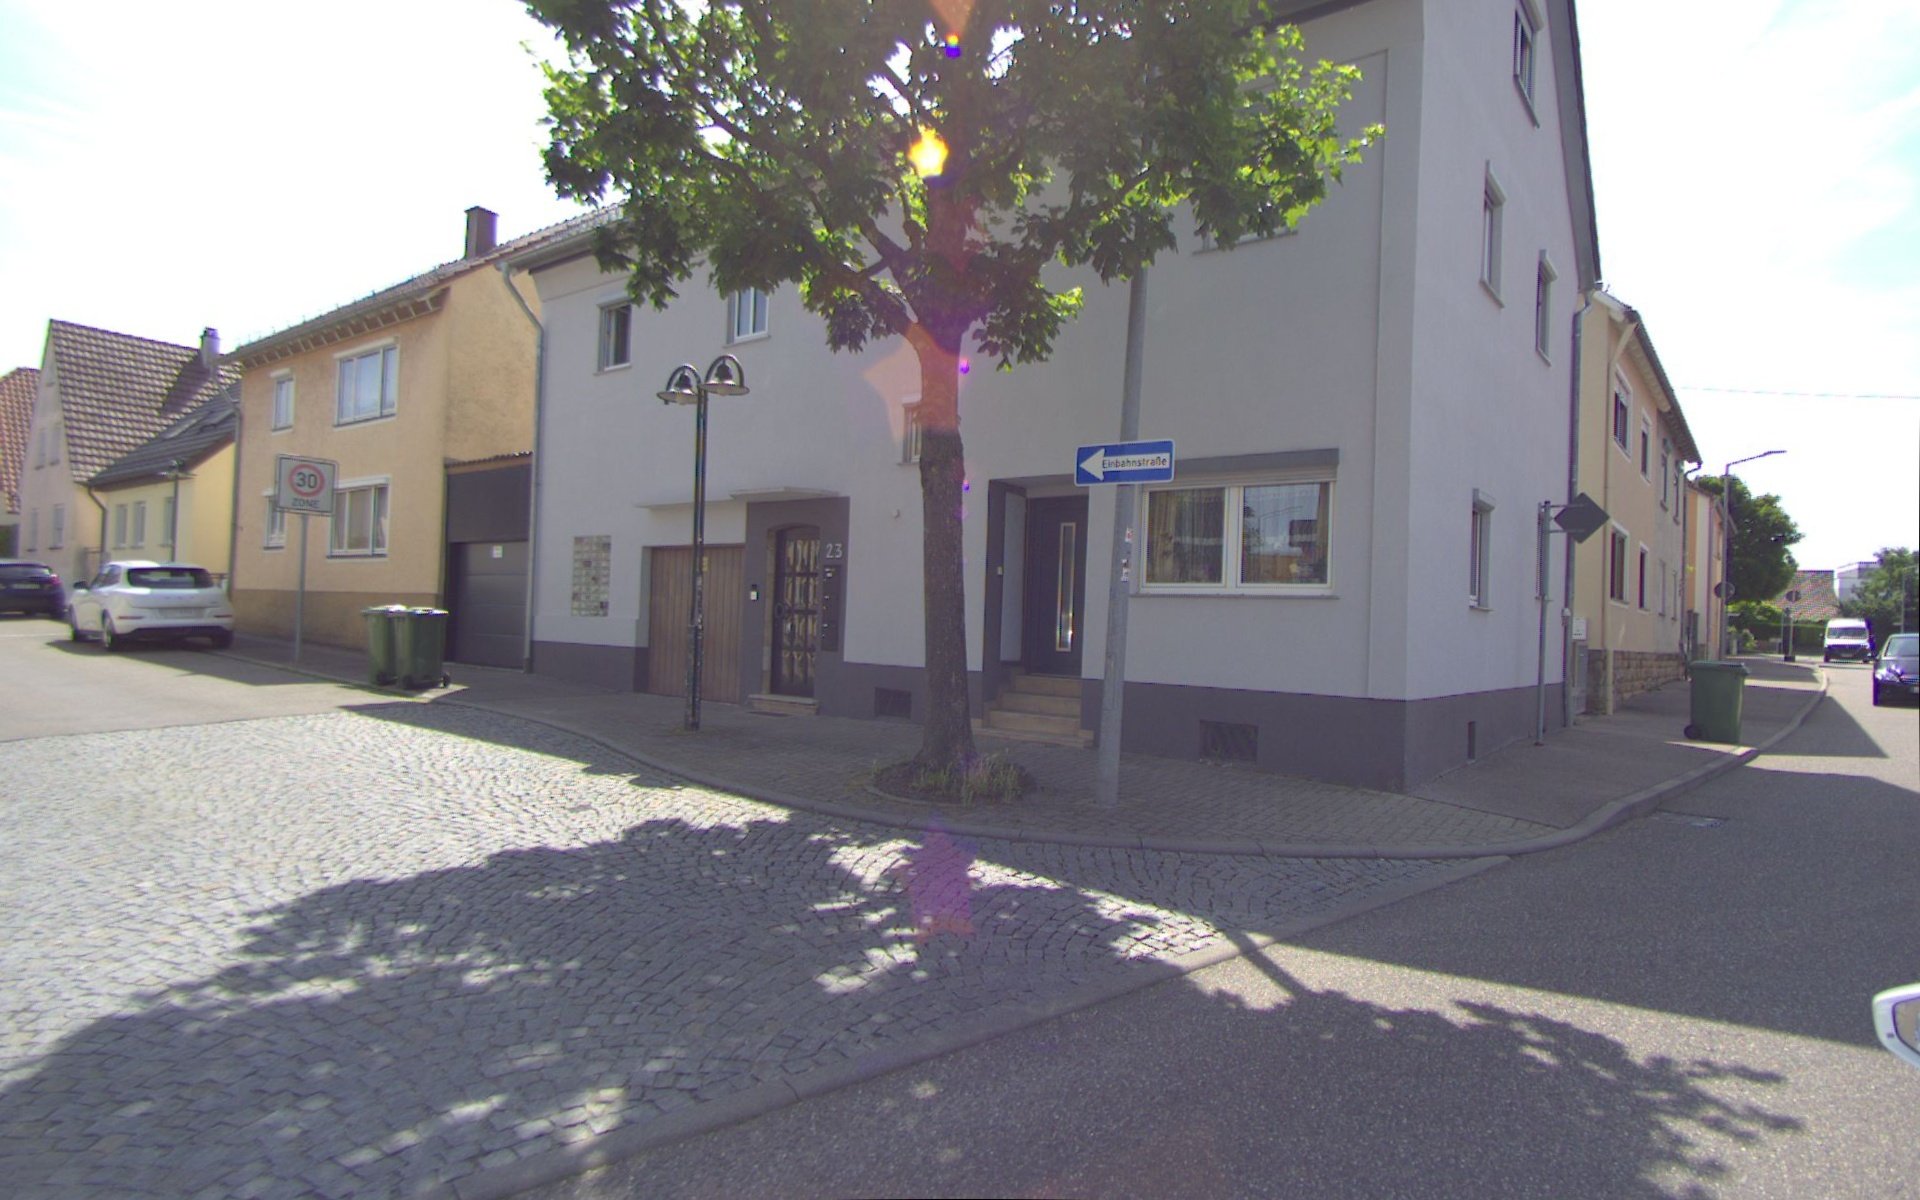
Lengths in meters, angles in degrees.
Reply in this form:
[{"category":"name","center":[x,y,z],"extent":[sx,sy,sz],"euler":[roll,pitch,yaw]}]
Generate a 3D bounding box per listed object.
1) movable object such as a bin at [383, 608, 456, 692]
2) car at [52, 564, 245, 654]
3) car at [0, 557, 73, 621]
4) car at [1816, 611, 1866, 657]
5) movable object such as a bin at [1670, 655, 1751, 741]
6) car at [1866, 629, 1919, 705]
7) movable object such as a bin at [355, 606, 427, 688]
[{"category":"movable object such as a bin","center":[-7.304,0.662,13.581],"extent":[0.638,1.086,0.626],"euler":[1,0,33]},{"category":"car","center":[-15.240,0.128,18.815],"extent":[3.934,1.535,1.784],"euler":[1,0,35]},{"category":"car","center":[-24.139,-0.285,25.385],"extent":[3.774,1.496,1.665],"euler":[1,0,34]},{"category":"car","center":[52.043,1.975,59.409],"extent":[2.090,2.597,5.798],"euler":[0,-1,41]},{"category":"movable object such as a bin","center":[10.110,1.298,13.533],"extent":[0.675,1.074,0.746],"euler":[1,0,-43]},{"category":"car","center":[21.480,1.452,22.364],"extent":[1.781,1.576,4.045],"euler":[-1,-1,44]},{"category":"movable object such as a bin","center":[-7.920,0.644,13.980],"extent":[0.638,1.086,0.626],"euler":[1,0,33]}]
